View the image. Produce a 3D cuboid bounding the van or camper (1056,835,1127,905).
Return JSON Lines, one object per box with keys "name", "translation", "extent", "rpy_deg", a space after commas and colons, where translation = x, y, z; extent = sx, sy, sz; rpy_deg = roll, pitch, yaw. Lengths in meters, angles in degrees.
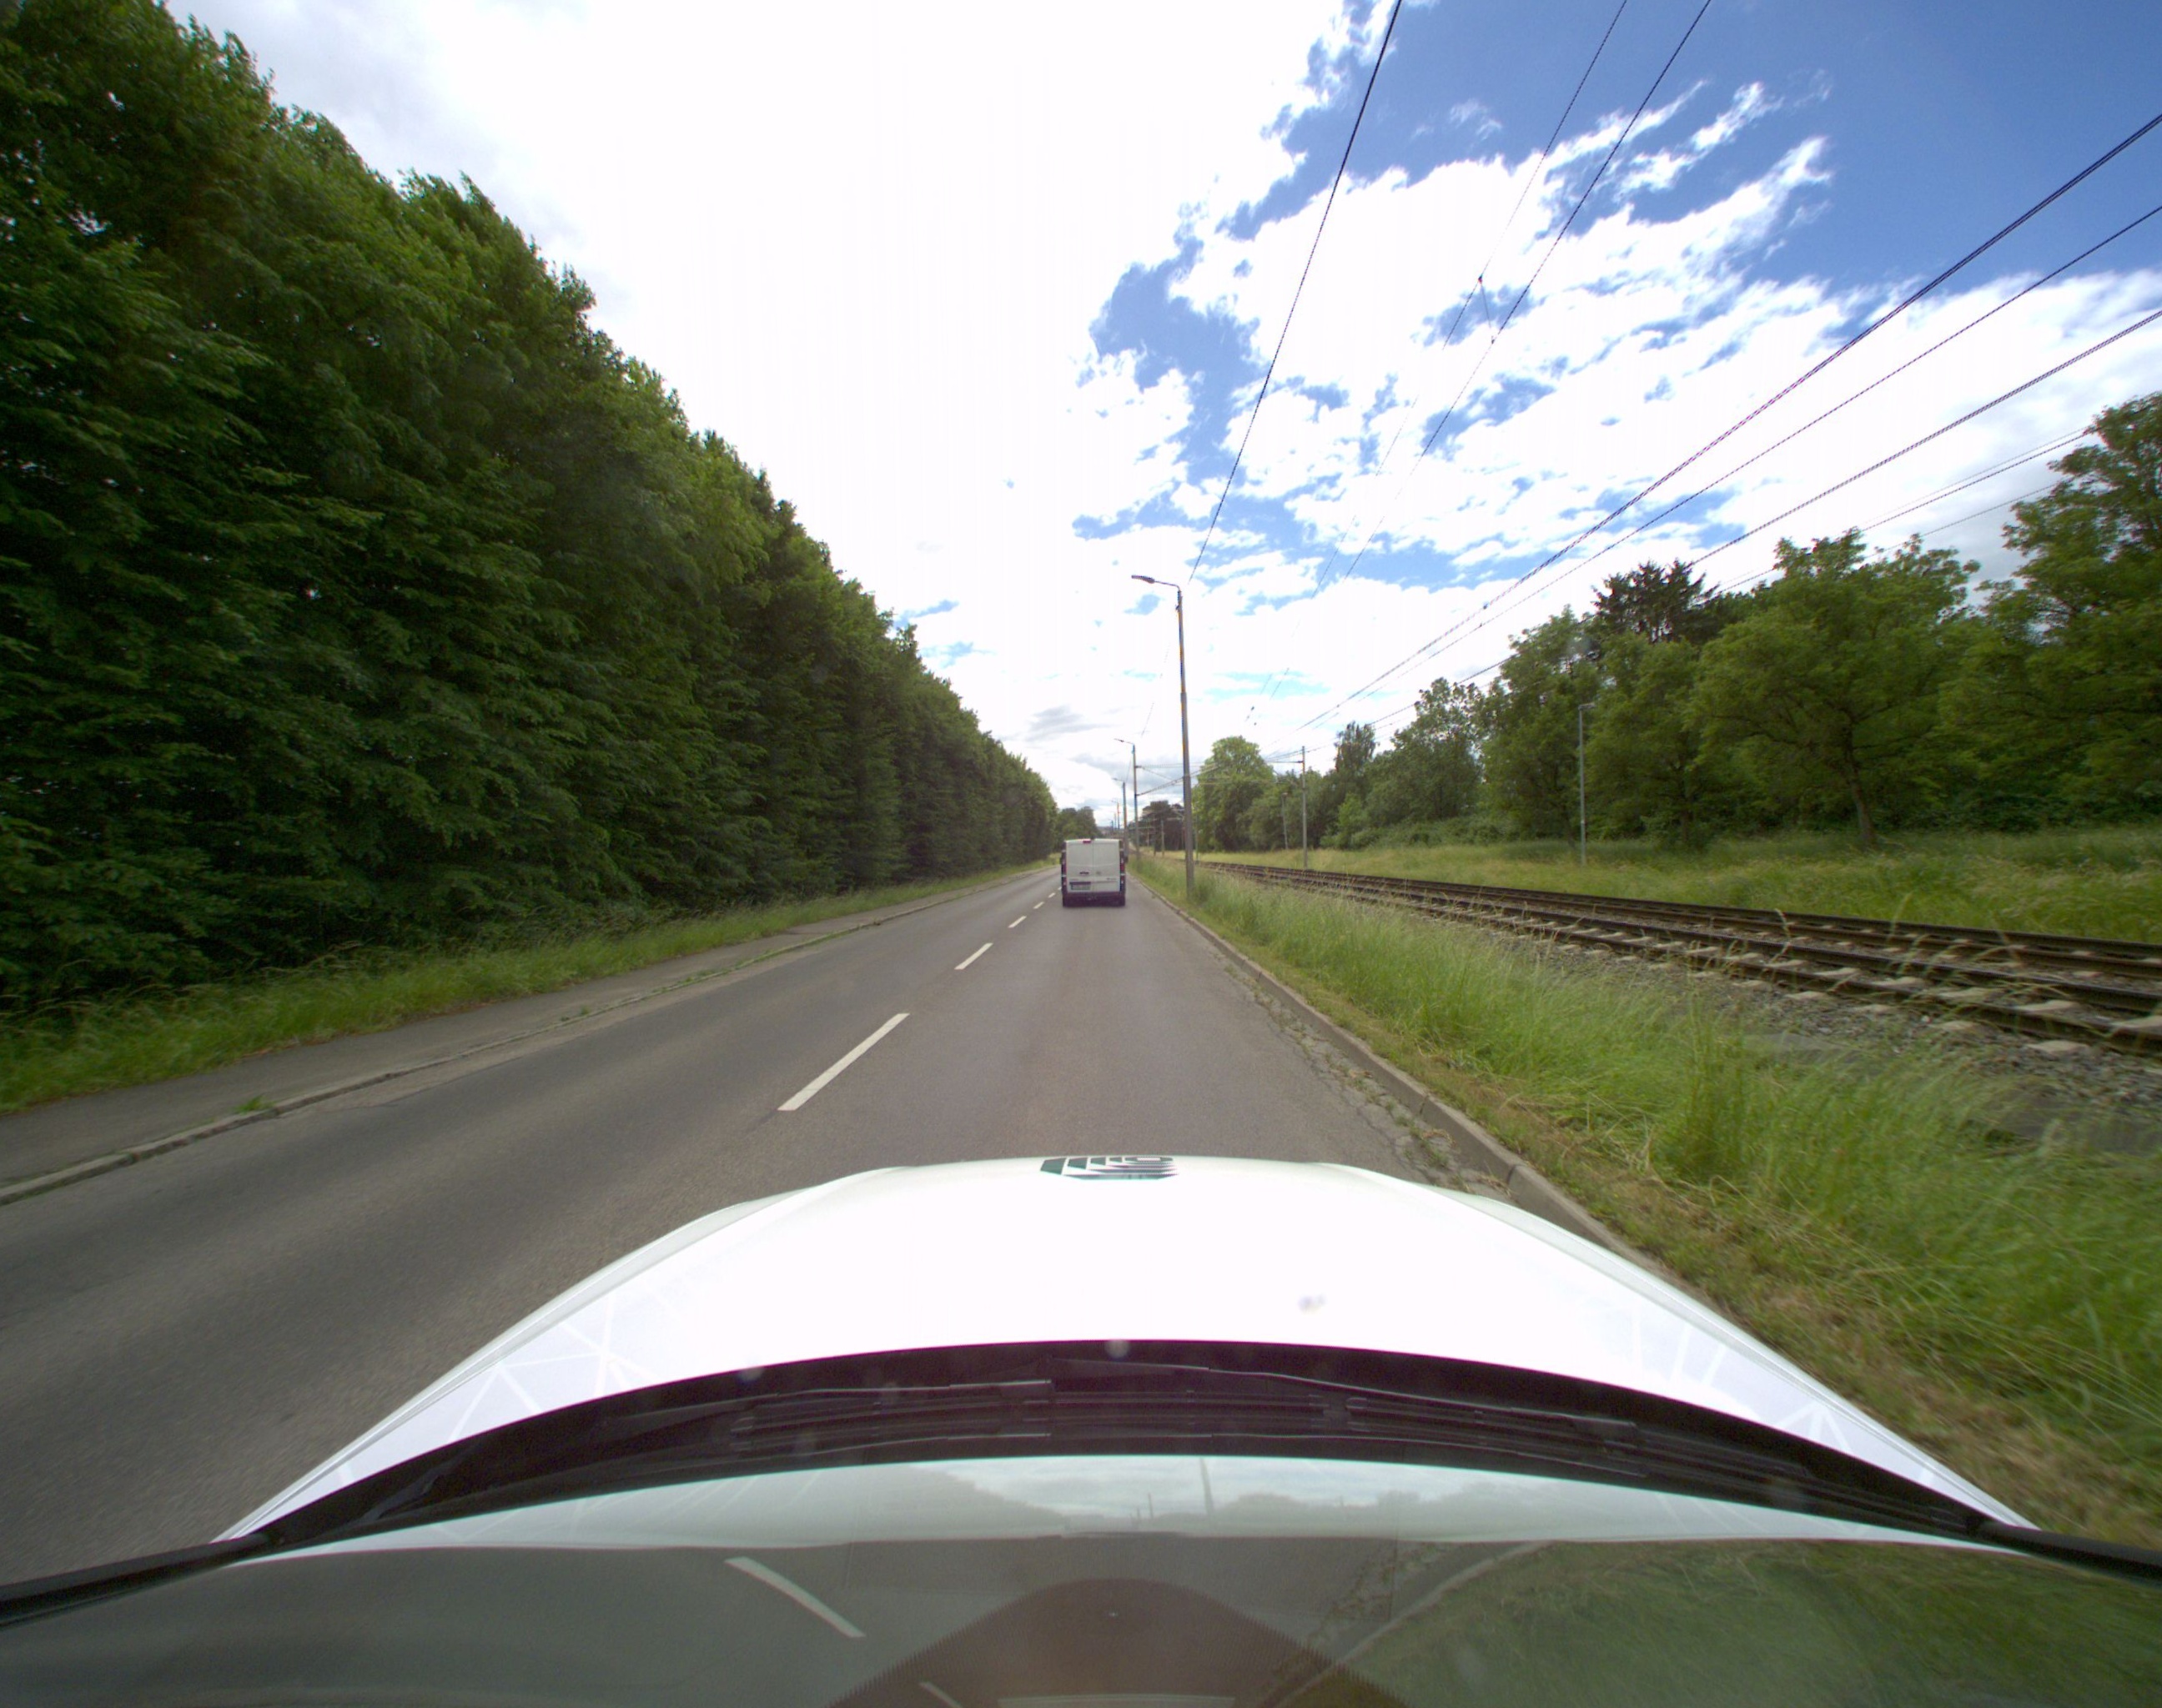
{"name": "van or camper", "translation": [0.311, 0.437, 24.960], "extent": [1.935, 1.897, 4.285], "rpy_deg": [-2, 0, 0]}
